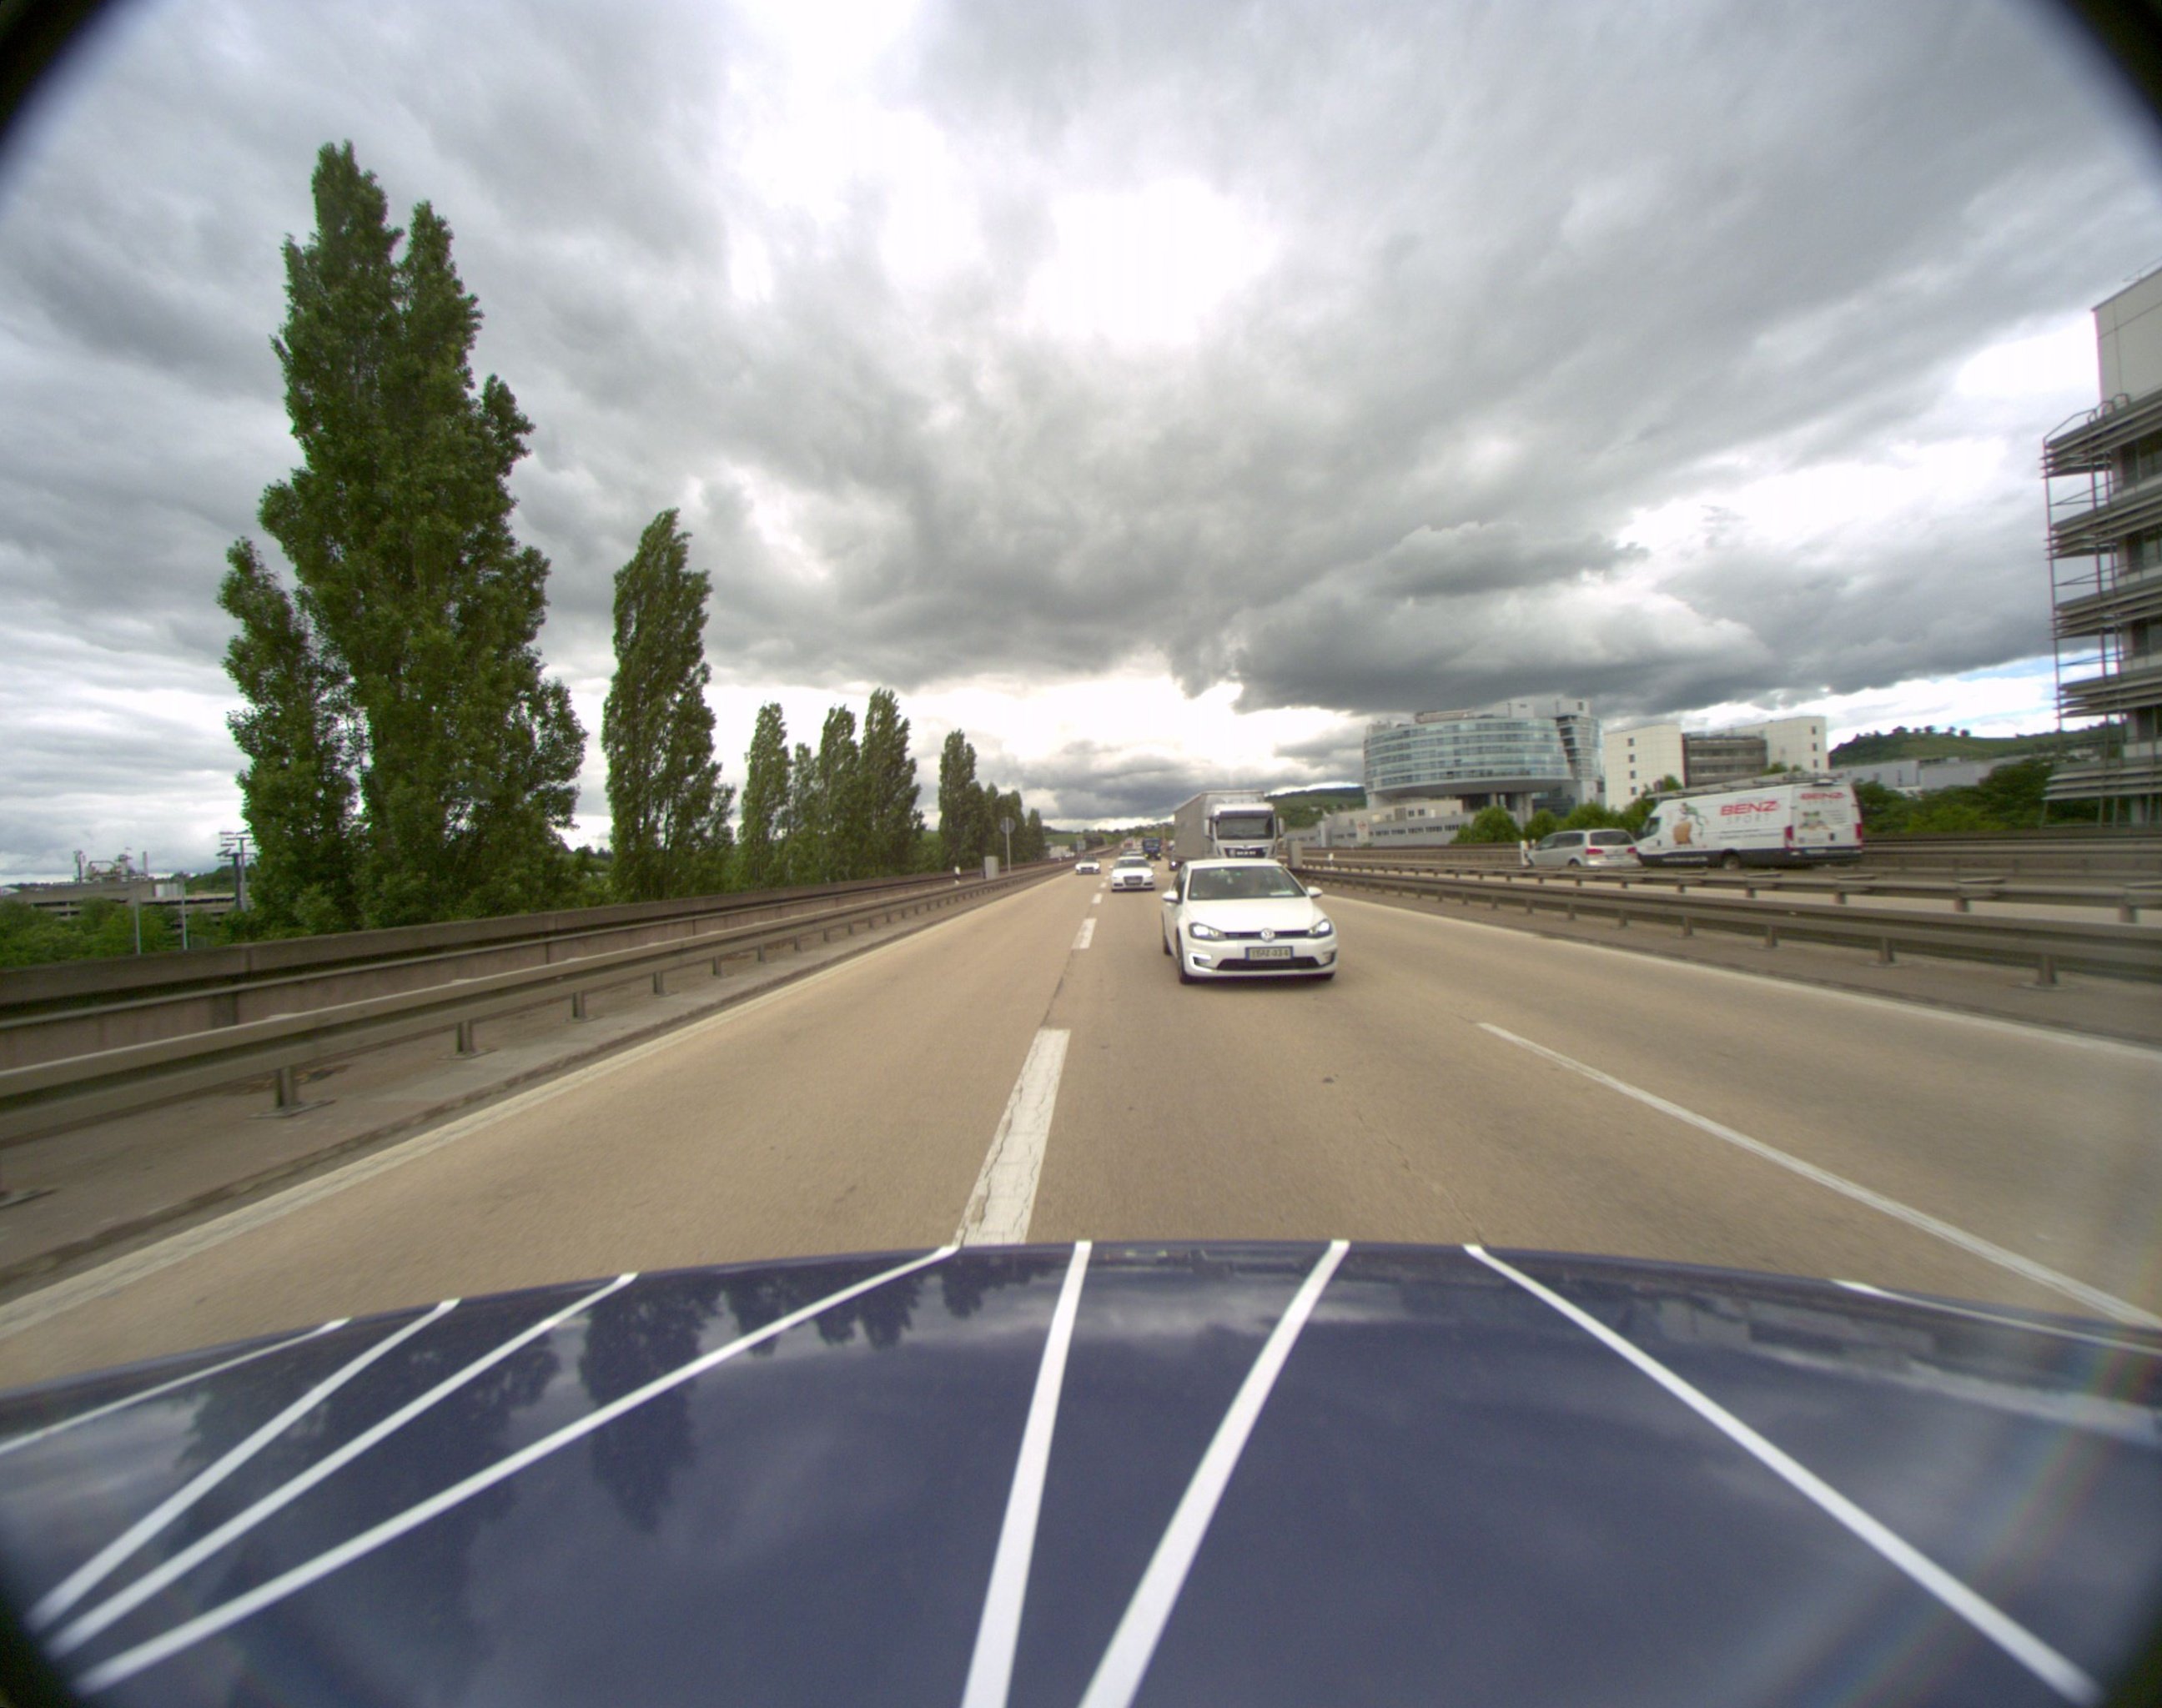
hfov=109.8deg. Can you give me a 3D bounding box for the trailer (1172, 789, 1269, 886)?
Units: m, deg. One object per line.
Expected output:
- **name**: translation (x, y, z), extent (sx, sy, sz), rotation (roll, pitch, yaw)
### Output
- **trailer**: translation (6.745, -0.774, 38.709), extent (3.189, 4.003, 11.766), rotation (-3, 1, 3)

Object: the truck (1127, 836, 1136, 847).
- **truck**: translation (16.149, -3.920, 242.999), extent (2.625, 3.219, 6.687), rotation (-2, 1, 4)

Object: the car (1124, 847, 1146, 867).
- **car**: translation (4.863, 0.263, 68.833), extent (1.930, 1.585, 4.061), rotation (-3, 1, 3)

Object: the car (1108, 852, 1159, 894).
- **car**: translation (2.201, 0.758, 32.219), extent (1.930, 1.499, 4.061), rotation (-3, 1, 3)

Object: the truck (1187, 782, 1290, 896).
- **truck**: translation (6.234, -0.594, 30.943), extent (3.141, 4.014, 5.689), rotation (-3, 1, 4)

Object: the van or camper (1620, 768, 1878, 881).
- **van or camper**: translation (20.703, -0.819, 24.243), extent (2.176, 2.991, 7.118), rotation (-2, 0, 3)

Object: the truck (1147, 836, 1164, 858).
- **truck**: translation (11.065, -1.079, 113.261), extent (2.336, 3.219, 6.687), rotation (-2, 1, 4)

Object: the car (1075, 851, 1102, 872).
- **car**: translation (0.677, 0.615, 62.503), extent (1.930, 1.499, 4.061), rotation (-3, 1, 3)

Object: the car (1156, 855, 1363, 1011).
- **car**: translation (2.051, 0.834, 9.935), extent (1.930, 1.499, 4.061), rotation (-2, 1, 3)

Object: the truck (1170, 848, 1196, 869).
- **truck**: translation (8.183, 0.361, 61.200), extent (1.829, 1.521, 3.514), rotation (-2, 1, 3)

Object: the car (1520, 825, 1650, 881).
- **car**: translation (16.929, -0.067, 25.810), extent (1.687, 1.641, 4.312), rotation (-3, 1, 3)
